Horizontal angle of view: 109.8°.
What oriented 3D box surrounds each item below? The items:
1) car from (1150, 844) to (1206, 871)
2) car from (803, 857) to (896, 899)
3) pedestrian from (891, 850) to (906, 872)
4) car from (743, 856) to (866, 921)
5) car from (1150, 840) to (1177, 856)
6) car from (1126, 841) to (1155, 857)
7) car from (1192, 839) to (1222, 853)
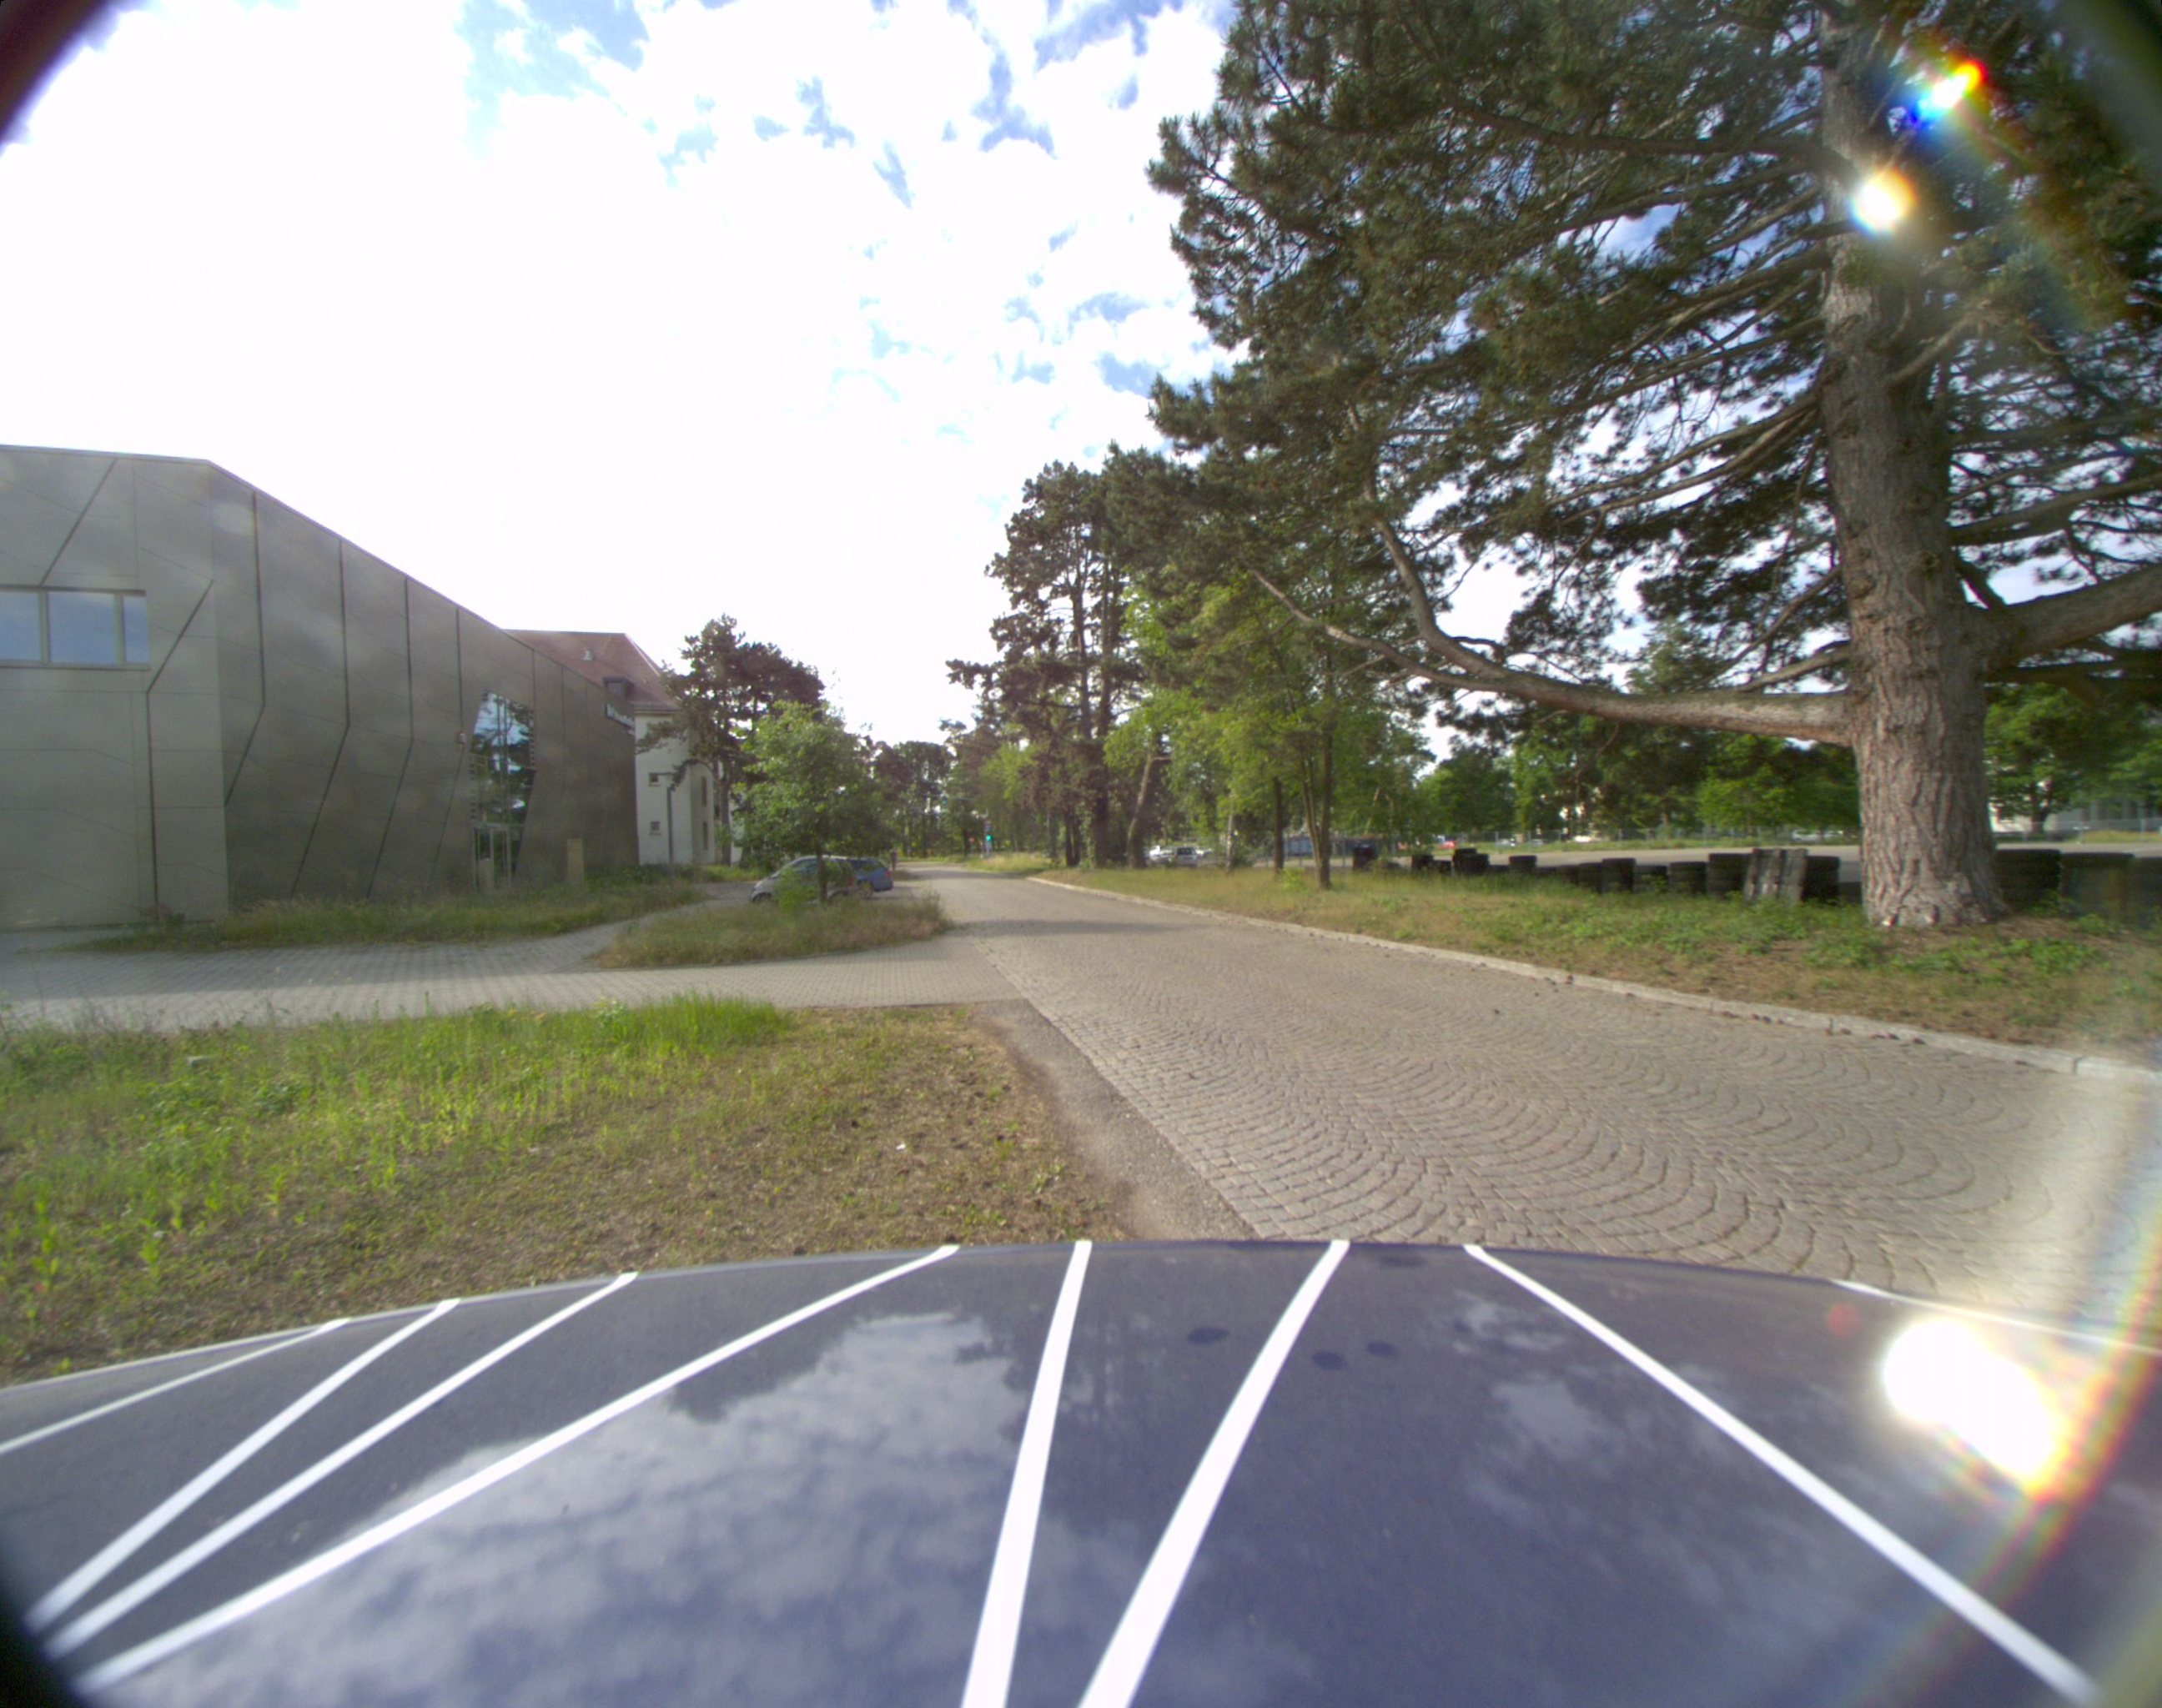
[{"bbox_3d":[5.753,0.197,45.473,1.893,1.532,3.994,-2,1,-15],"label":"car"},{"bbox_3d":[-8.286,0.838,27.210,3.096,1.449,1.489,1,0,-18],"label":"car"},{"bbox_3d":[-15.318,0.569,63.856,0.960,1.833,0.953,-2,1,-28],"label":"pedestrian"},{"bbox_3d":[-7.183,0.877,19.968,2.769,1.540,1.424,-2,1,-10],"label":"car"},{"bbox_3d":[9.161,-0.675,85.045,1.827,1.608,3.995,-2,1,-11],"label":"car"},{"bbox_3d":[6.593,-0.534,84.159,2.001,1.608,3.995,-2,1,-13],"label":"car"},{"bbox_3d":[14.351,-0.909,86.909,2.001,1.608,3.995,-2,1,-13],"label":"car"}]
